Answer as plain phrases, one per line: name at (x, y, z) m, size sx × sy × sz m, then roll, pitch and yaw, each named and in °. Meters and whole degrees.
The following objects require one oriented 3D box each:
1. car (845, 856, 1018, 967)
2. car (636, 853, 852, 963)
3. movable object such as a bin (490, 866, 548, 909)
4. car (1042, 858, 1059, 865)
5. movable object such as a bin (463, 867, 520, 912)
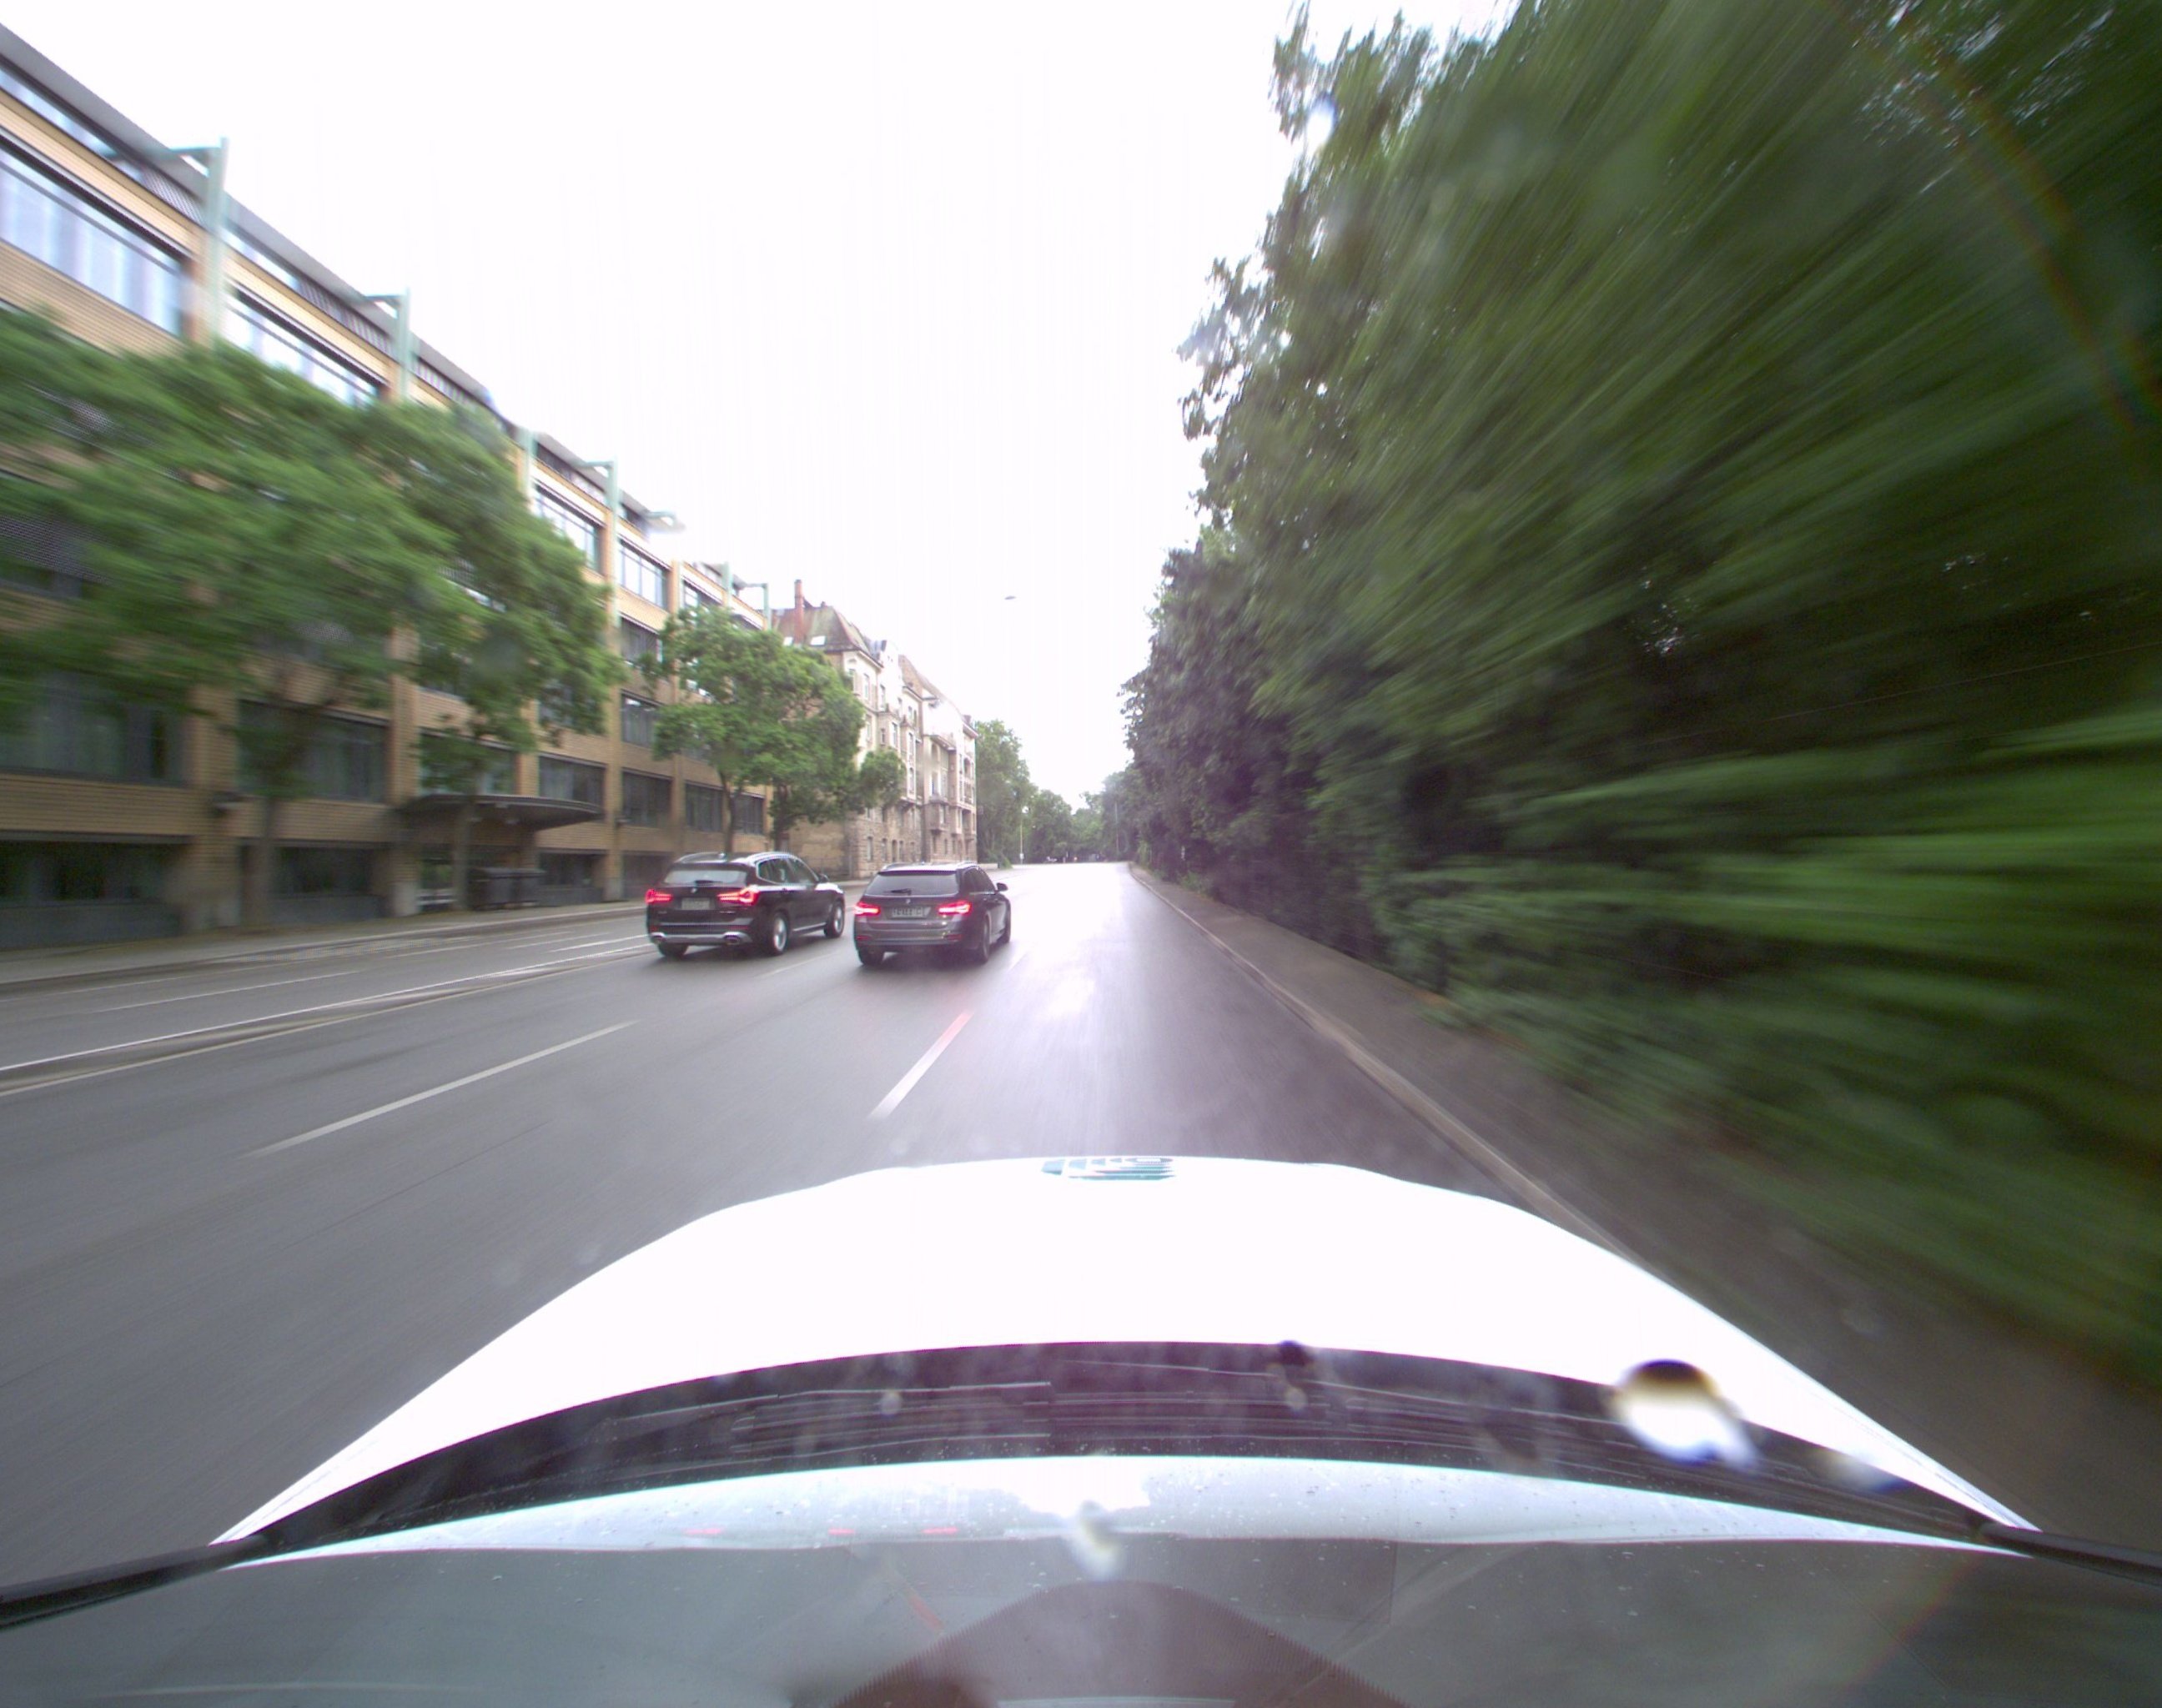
car at (-2.115, 0.759, 12.784) m, size 1.751 × 1.432 × 4.414 m, roll 0°, pitch 0°, yaw 2°
car at (-5.517, 0.798, 14.046) m, size 1.751 × 1.586 × 4.414 m, roll -1°, pitch 0°, yaw 2°
movable object such as a bin at (-19.589, 1.158, 28.411) m, size 1.065 × 1.436 × 1.371 m, roll 0°, pitch 0°, yaw -3°
car at (-7.276, 1.814, 194.164) m, size 1.702 × 1.427 × 4.317 m, roll 3°, pitch -4°, yaw -44°
movable object such as a bin at (-19.557, 1.149, 27.058) m, size 0.970 × 1.436 × 1.313 m, roll 0°, pitch 0°, yaw -3°
